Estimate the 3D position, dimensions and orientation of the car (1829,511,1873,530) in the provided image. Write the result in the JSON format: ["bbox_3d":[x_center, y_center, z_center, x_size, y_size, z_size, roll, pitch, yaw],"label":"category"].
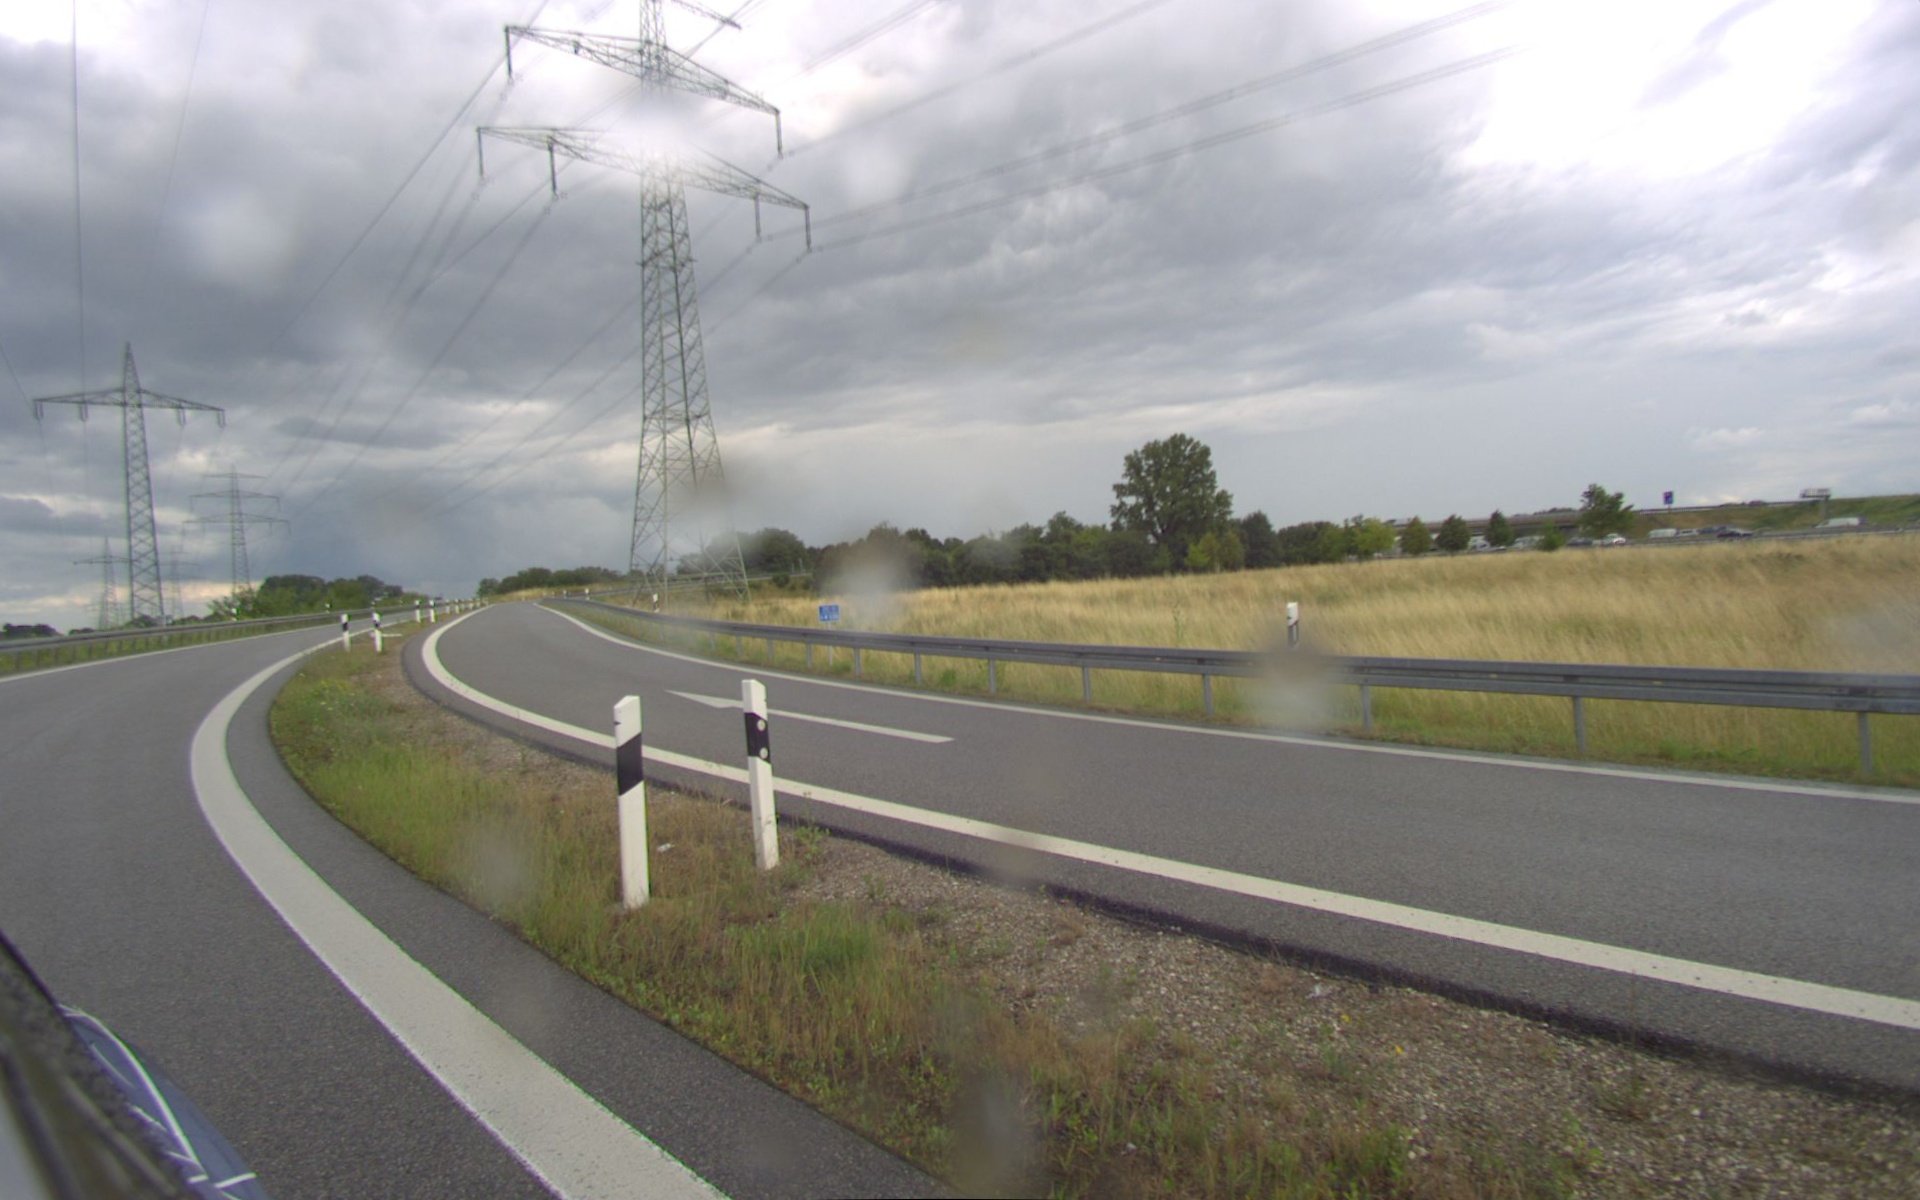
[{"bbox_3d":[119.267,-10.621,135.543,1.970,2.028,4.005,-4,-1,-6],"label":"car"}]
